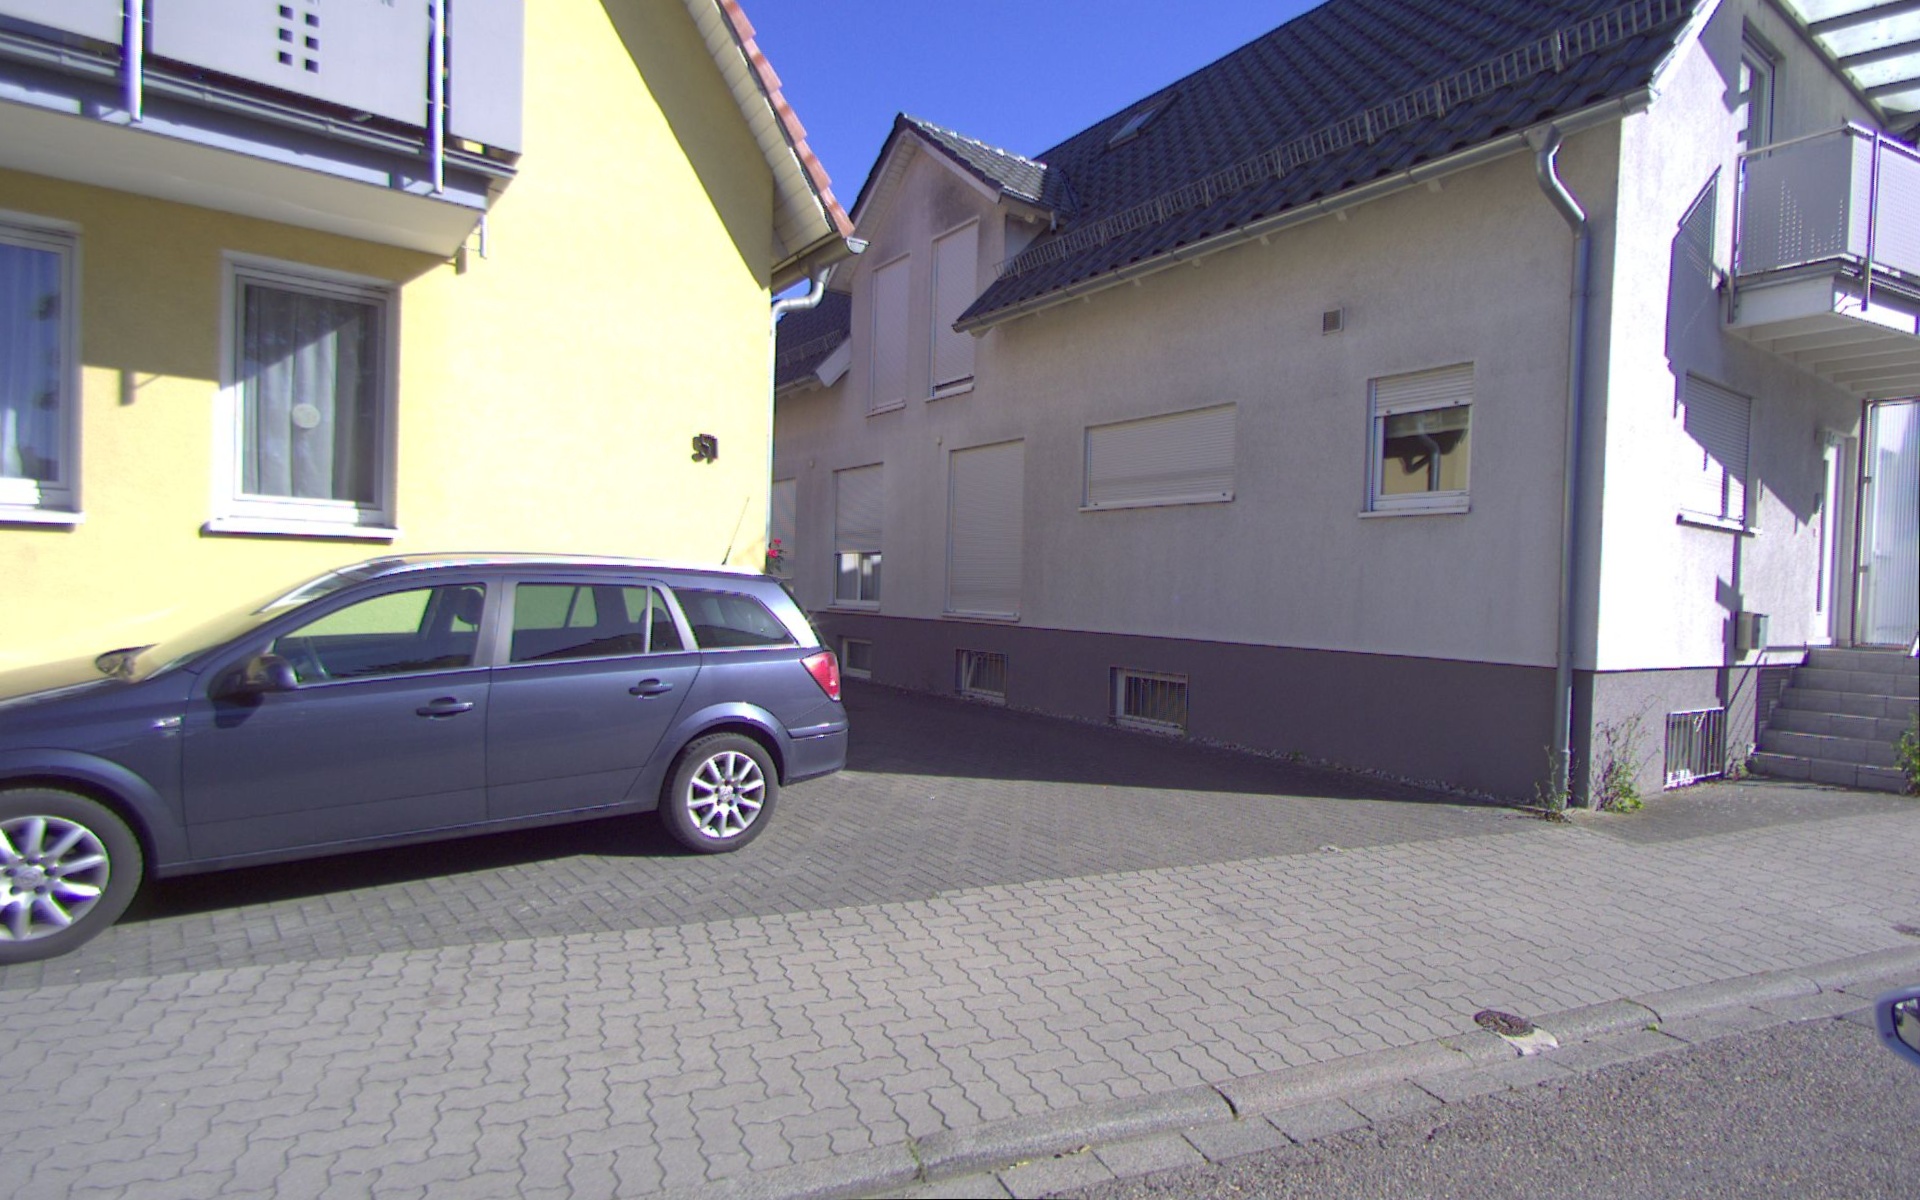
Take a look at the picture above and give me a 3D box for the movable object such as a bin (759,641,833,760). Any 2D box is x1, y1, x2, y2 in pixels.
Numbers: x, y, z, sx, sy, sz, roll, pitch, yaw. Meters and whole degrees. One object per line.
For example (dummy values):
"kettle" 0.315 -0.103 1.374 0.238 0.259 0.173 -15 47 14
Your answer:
"movable object such as a bin" -1.372 0.823 8.383 0.488 0.942 0.375 1 0 -32

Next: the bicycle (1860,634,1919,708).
"bicycle" 10.373 0.753 10.892 1.485 0.726 0.486 1 2 -32

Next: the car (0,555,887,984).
"car" -2.571 0.591 5.080 4.138 1.464 1.676 1 2 -37
